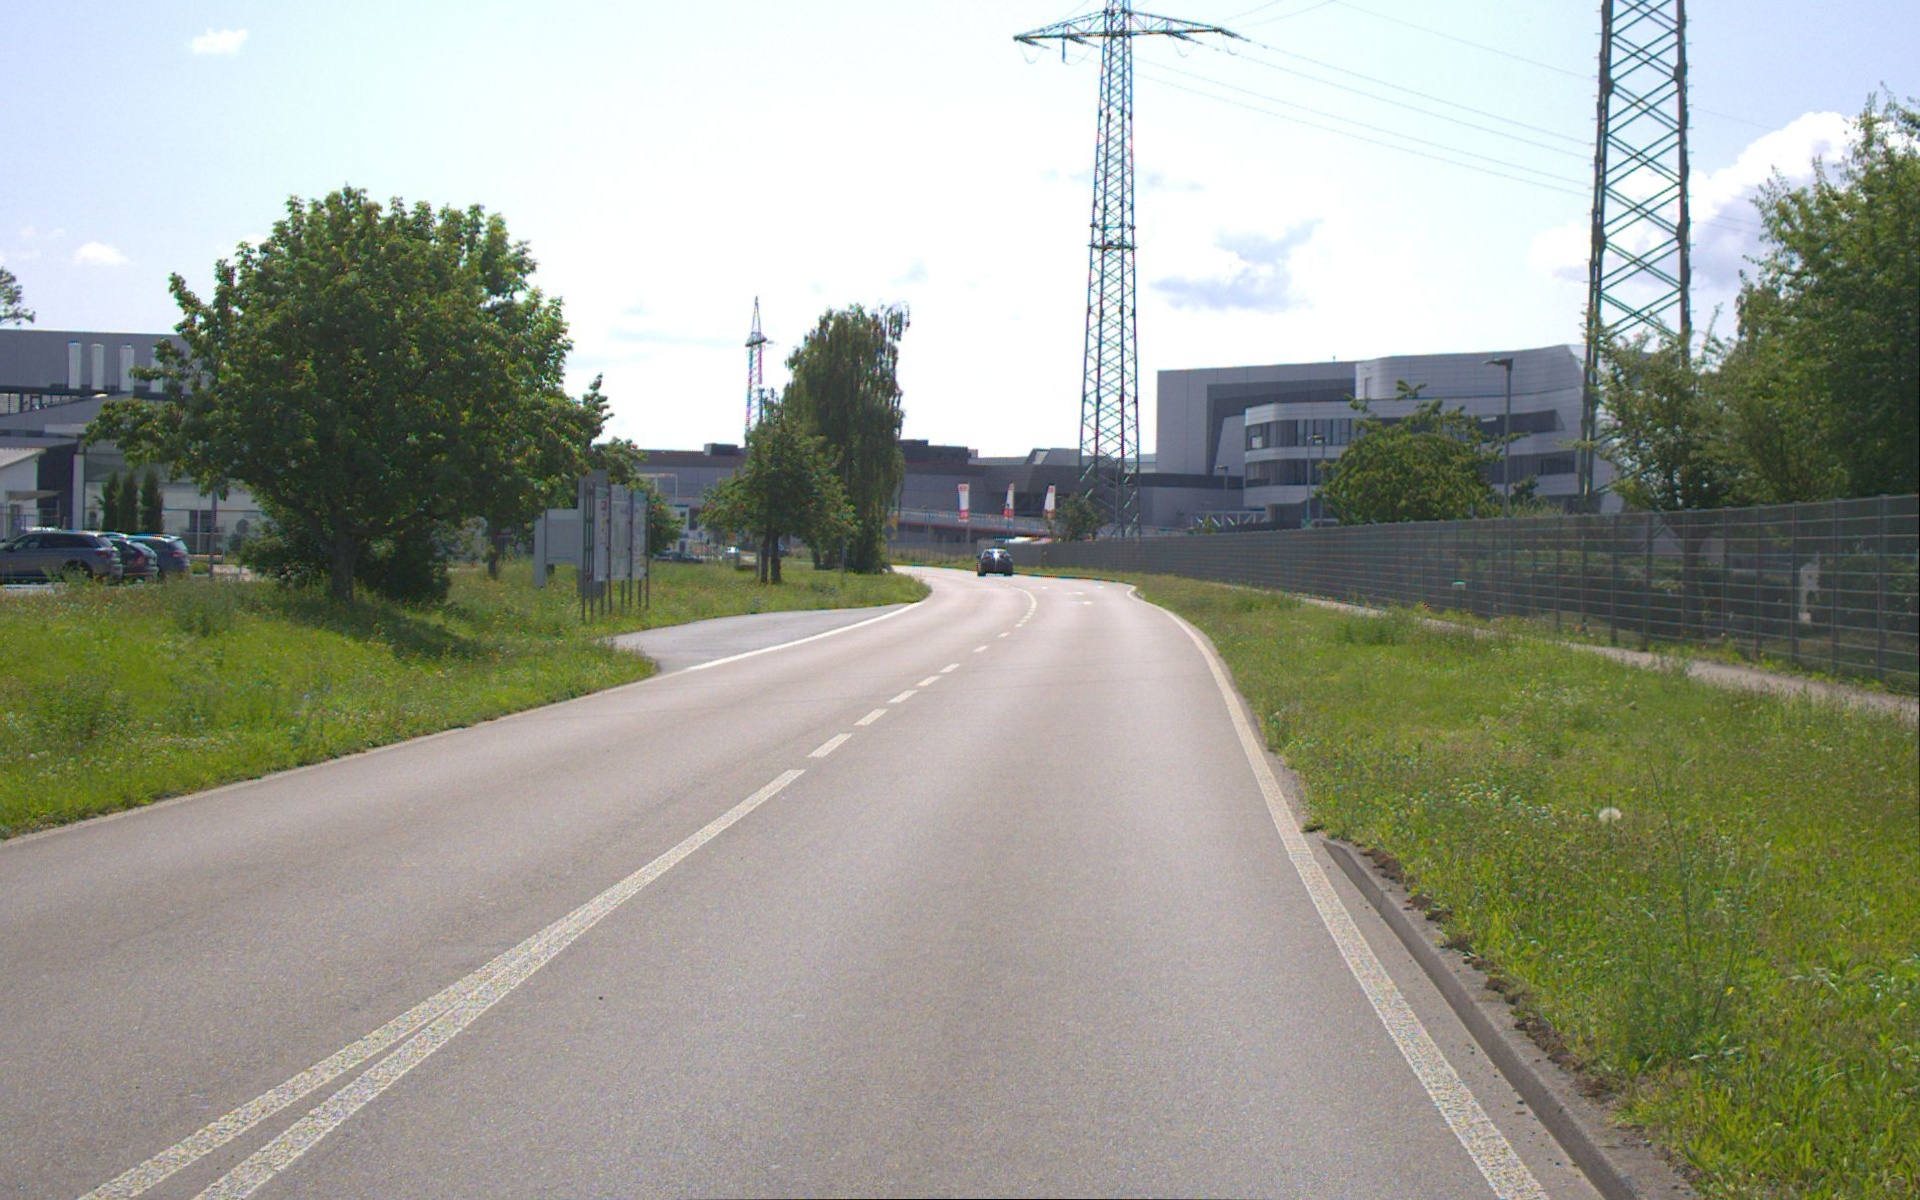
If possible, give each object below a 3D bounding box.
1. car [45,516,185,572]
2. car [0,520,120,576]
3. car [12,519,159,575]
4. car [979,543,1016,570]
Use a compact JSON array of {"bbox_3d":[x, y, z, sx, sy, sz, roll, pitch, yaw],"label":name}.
[{"bbox_3d":[-26.916,-1.782,109.627,3.986,1.634,2.000,2,1,-3],"label":"car"},{"bbox_3d":[-26.360,-1.515,98.750,3.986,1.523,2.000,2,1,-3],"label":"car"},{"bbox_3d":[-26.224,-1.595,103.144,3.986,1.550,1.666,2,1,-3],"label":"car"},{"bbox_3d":[2.126,-2.498,196.529,2.012,1.503,4.000,2,1,0],"label":"car"}]
